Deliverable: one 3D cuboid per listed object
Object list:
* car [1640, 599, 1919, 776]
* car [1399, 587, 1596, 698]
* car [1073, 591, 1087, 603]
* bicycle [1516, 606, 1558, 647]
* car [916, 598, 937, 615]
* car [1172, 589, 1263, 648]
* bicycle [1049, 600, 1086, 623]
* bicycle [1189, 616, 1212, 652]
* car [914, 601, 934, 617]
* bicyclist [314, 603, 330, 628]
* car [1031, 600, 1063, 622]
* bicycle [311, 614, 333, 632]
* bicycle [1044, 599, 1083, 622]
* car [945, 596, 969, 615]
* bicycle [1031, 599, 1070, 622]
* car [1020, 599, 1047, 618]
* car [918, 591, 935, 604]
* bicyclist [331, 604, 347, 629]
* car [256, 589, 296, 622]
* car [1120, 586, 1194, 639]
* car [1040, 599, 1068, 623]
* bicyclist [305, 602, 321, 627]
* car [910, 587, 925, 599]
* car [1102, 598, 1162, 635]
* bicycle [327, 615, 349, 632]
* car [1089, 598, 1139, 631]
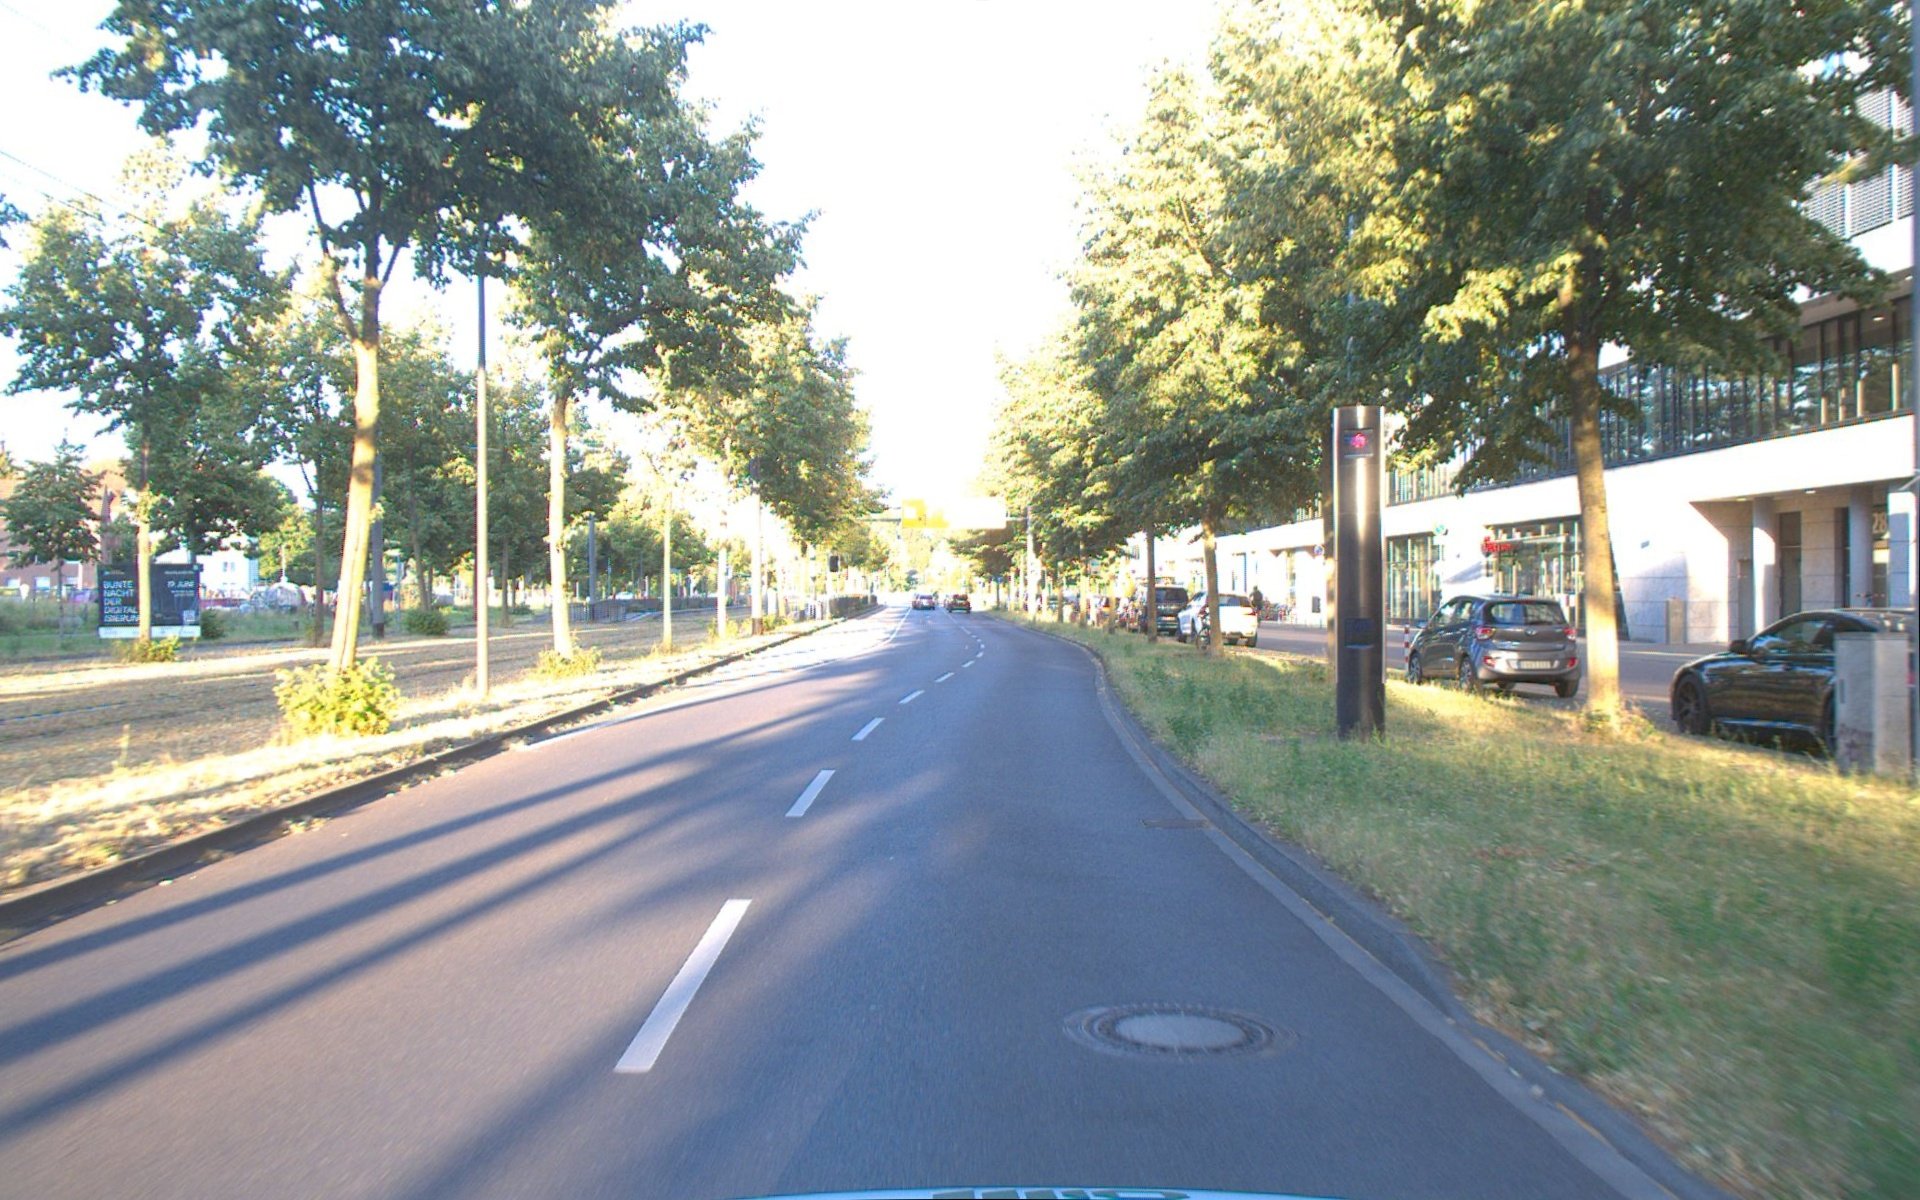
[{"bbox_3d":[8.504,0.708,15.779,1.815,1.391,4.831,0,0,-3],"label":"car"},{"bbox_3d":[8.210,0.600,25.589,1.675,1.542,3.757,2,0,-2],"label":"car"},{"bbox_3d":[17.766,-0.381,244.635,1.952,1.758,4.001,0,0,2],"label":"car"},{"bbox_3d":[15.134,0.684,43.419,0.461,1.057,1.806,-1,0,0],"label":"bicycle"},{"bbox_3d":[-3.101,0.602,152.572,1.873,1.512,3.998,0,0,-2],"label":"car"},{"bbox_3d":[7.776,0.534,50.330,1.953,1.671,4.877,-1,0,-1],"label":"car"},{"bbox_3d":[5.725,0.614,88.234,1.906,1.072,0.408,3,0,-9],"label":"bicycle"},{"bbox_3d":[5.775,0.815,39.773,0.308,0.838,1.552,-1,0,0],"label":"bicycle"},{"bbox_3d":[-3.511,0.814,159.074,1.873,1.512,3.998,0,0,-2],"label":"car"},{"bbox_3d":[-38.281,0.929,99.264,0.607,1.482,0.937,-1,0,-3],"label":"bicyclist"},{"bbox_3d":[6.034,0.751,115.278,1.742,1.498,4.285,0,0,-3],"label":"car"},{"bbox_3d":[-38.273,1.368,99.173,0.607,1.029,2.081,-1,0,-3],"label":"bicycle"},{"bbox_3d":[5.432,0.554,87.009,1.908,1.072,0.543,3,0,-13],"label":"bicycle"},{"bbox_3d":[-0.262,0.423,135.488,1.873,1.512,3.998,0,0,-2],"label":"car"},{"bbox_3d":[4.692,0.544,85.426,1.910,1.072,0.543,3,0,-17],"label":"bicycle"},{"bbox_3d":[5.773,0.684,130.637,1.722,1.491,4.155,0,0,-4],"label":"car"},{"bbox_3d":[-3.967,-0.334,195.046,1.873,1.512,3.998,0,0,-2],"label":"car"},{"bbox_3d":[-37.400,0.982,99.619,0.607,1.482,0.937,-1,0,-3],"label":"bicyclist"},{"bbox_3d":[-48.007,0.395,116.055,2.385,2.263,5.871,0,0,-25],"label":"car"},{"bbox_3d":[7.369,0.451,62.218,1.954,1.884,4.662,-1,0,-3],"label":"car"},{"bbox_3d":[6.162,0.720,108.516,1.543,1.498,3.880,0,0,-1],"label":"car"},{"bbox_3d":[-37.957,0.825,97.078,0.607,1.446,0.937,-1,0,-3],"label":"bicyclist"},{"bbox_3d":[-5.436,-0.839,210.452,1.873,1.512,3.998,0,0,-2],"label":"car"},{"bbox_3d":[7.126,0.665,68.940,1.773,1.497,4.662,-1,0,-3],"label":"car"},{"bbox_3d":[-37.392,1.402,99.441,0.607,1.029,2.081,-1,0,-3],"label":"bicycle"},{"bbox_3d":[6.987,0.656,75.443,1.831,1.436,4.645,-1,0,-1],"label":"car"}]
